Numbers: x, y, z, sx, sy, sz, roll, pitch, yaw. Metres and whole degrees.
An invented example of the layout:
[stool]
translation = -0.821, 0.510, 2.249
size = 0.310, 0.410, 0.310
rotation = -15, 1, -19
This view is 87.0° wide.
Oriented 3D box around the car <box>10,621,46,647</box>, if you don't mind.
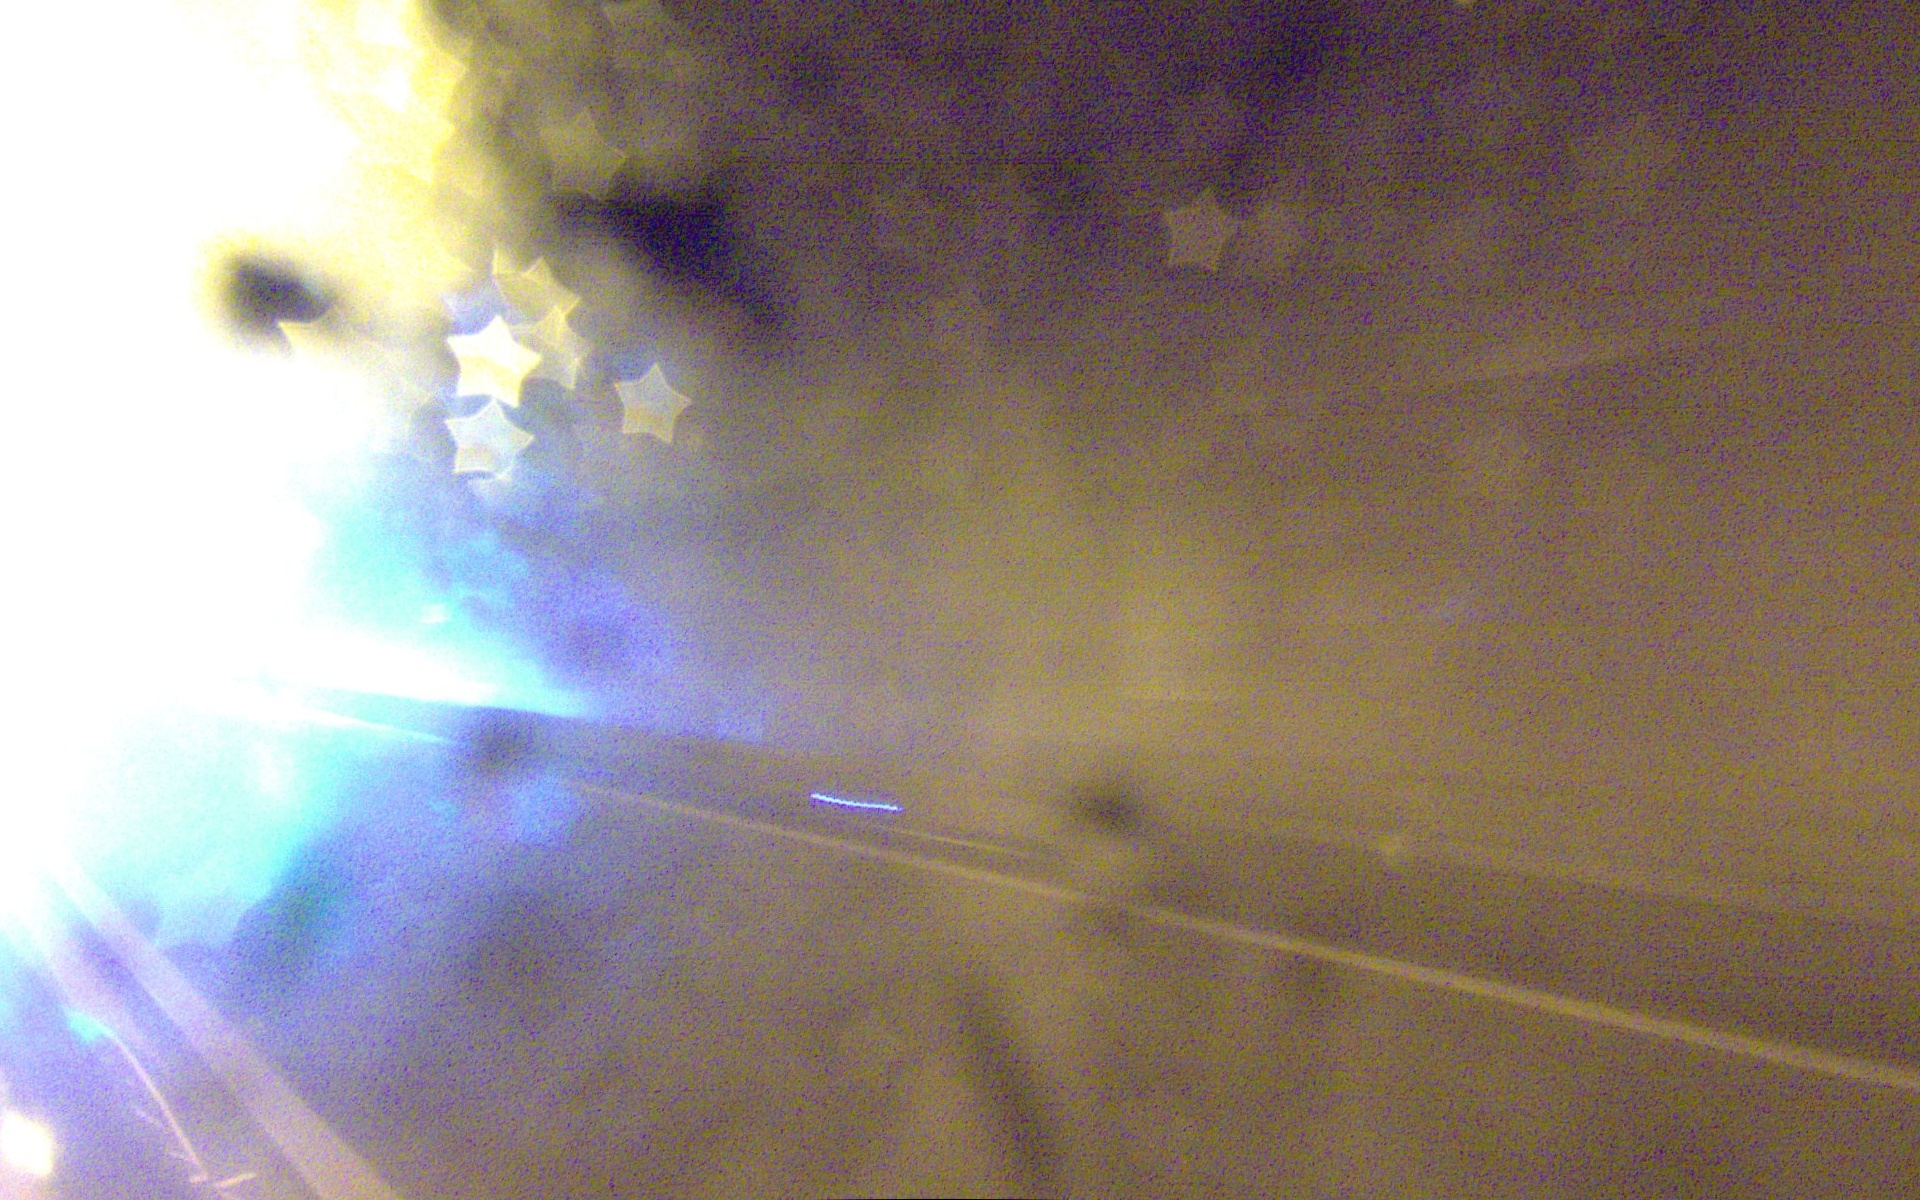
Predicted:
[car]
translation = -60.857, 2.209, 66.145
size = 1.611, 1.662, 3.780
rotation = 0, -1, -41
